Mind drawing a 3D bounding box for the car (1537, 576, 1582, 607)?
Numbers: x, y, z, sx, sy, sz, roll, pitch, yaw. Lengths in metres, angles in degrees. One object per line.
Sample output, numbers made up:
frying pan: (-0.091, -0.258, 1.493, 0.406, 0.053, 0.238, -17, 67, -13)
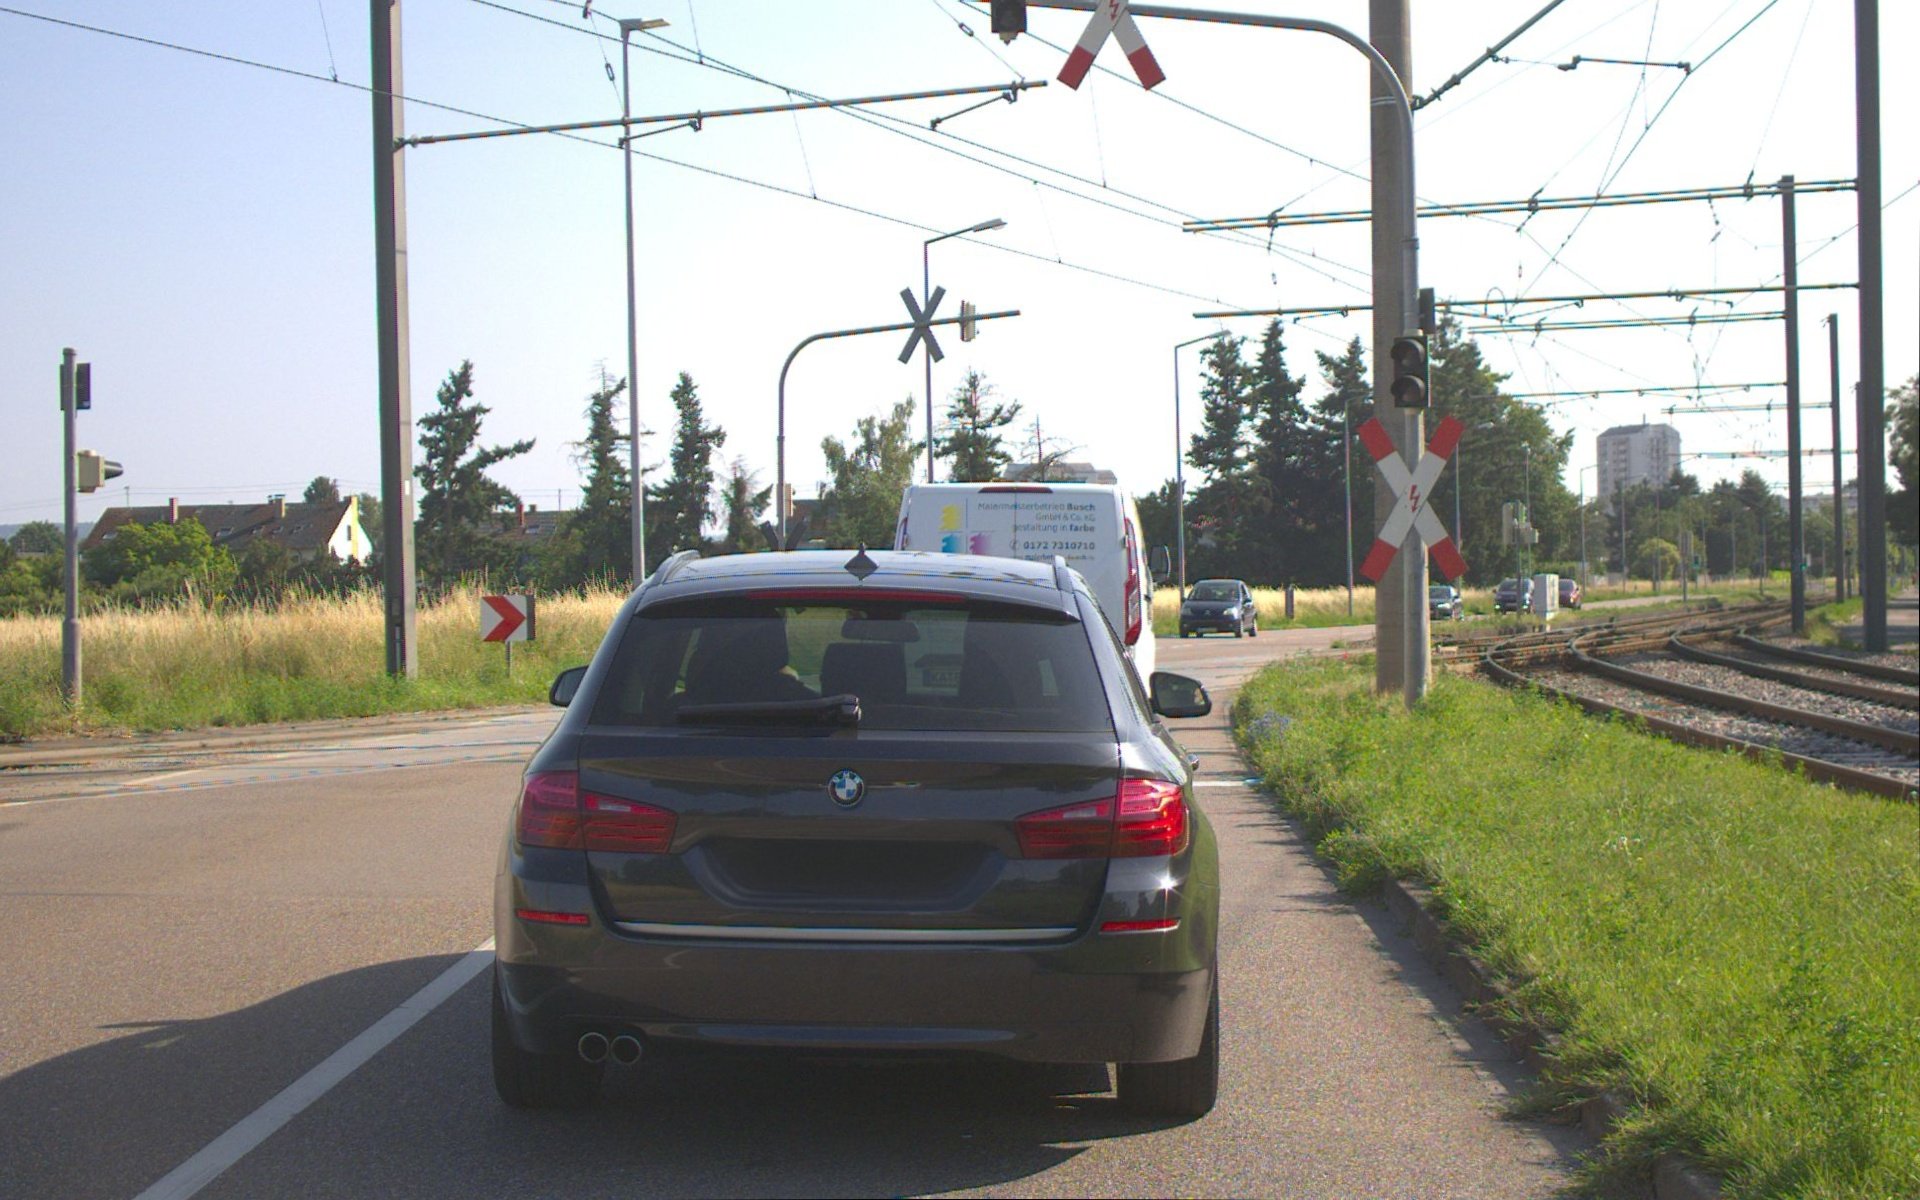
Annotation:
car: (30.465, -0.423, 174.670, 1.714, 1.544, 3.925, 0, 1, 18)

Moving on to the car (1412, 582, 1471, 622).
car: (18.355, 0.064, 131.041, 1.694, 1.435, 4.280, 1, 1, 15)

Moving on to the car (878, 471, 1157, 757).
car: (0.538, 0.067, 26.360, 1.858, 1.981, 5.107, 0, 1, 4)

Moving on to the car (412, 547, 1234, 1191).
car: (-0.315, 0.577, 10.192, 1.869, 1.447, 4.744, 0, 1, 0)

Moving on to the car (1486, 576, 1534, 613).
car: (25.446, -0.279, 158.938, 1.707, 1.659, 4.586, 0, 1, 15)
